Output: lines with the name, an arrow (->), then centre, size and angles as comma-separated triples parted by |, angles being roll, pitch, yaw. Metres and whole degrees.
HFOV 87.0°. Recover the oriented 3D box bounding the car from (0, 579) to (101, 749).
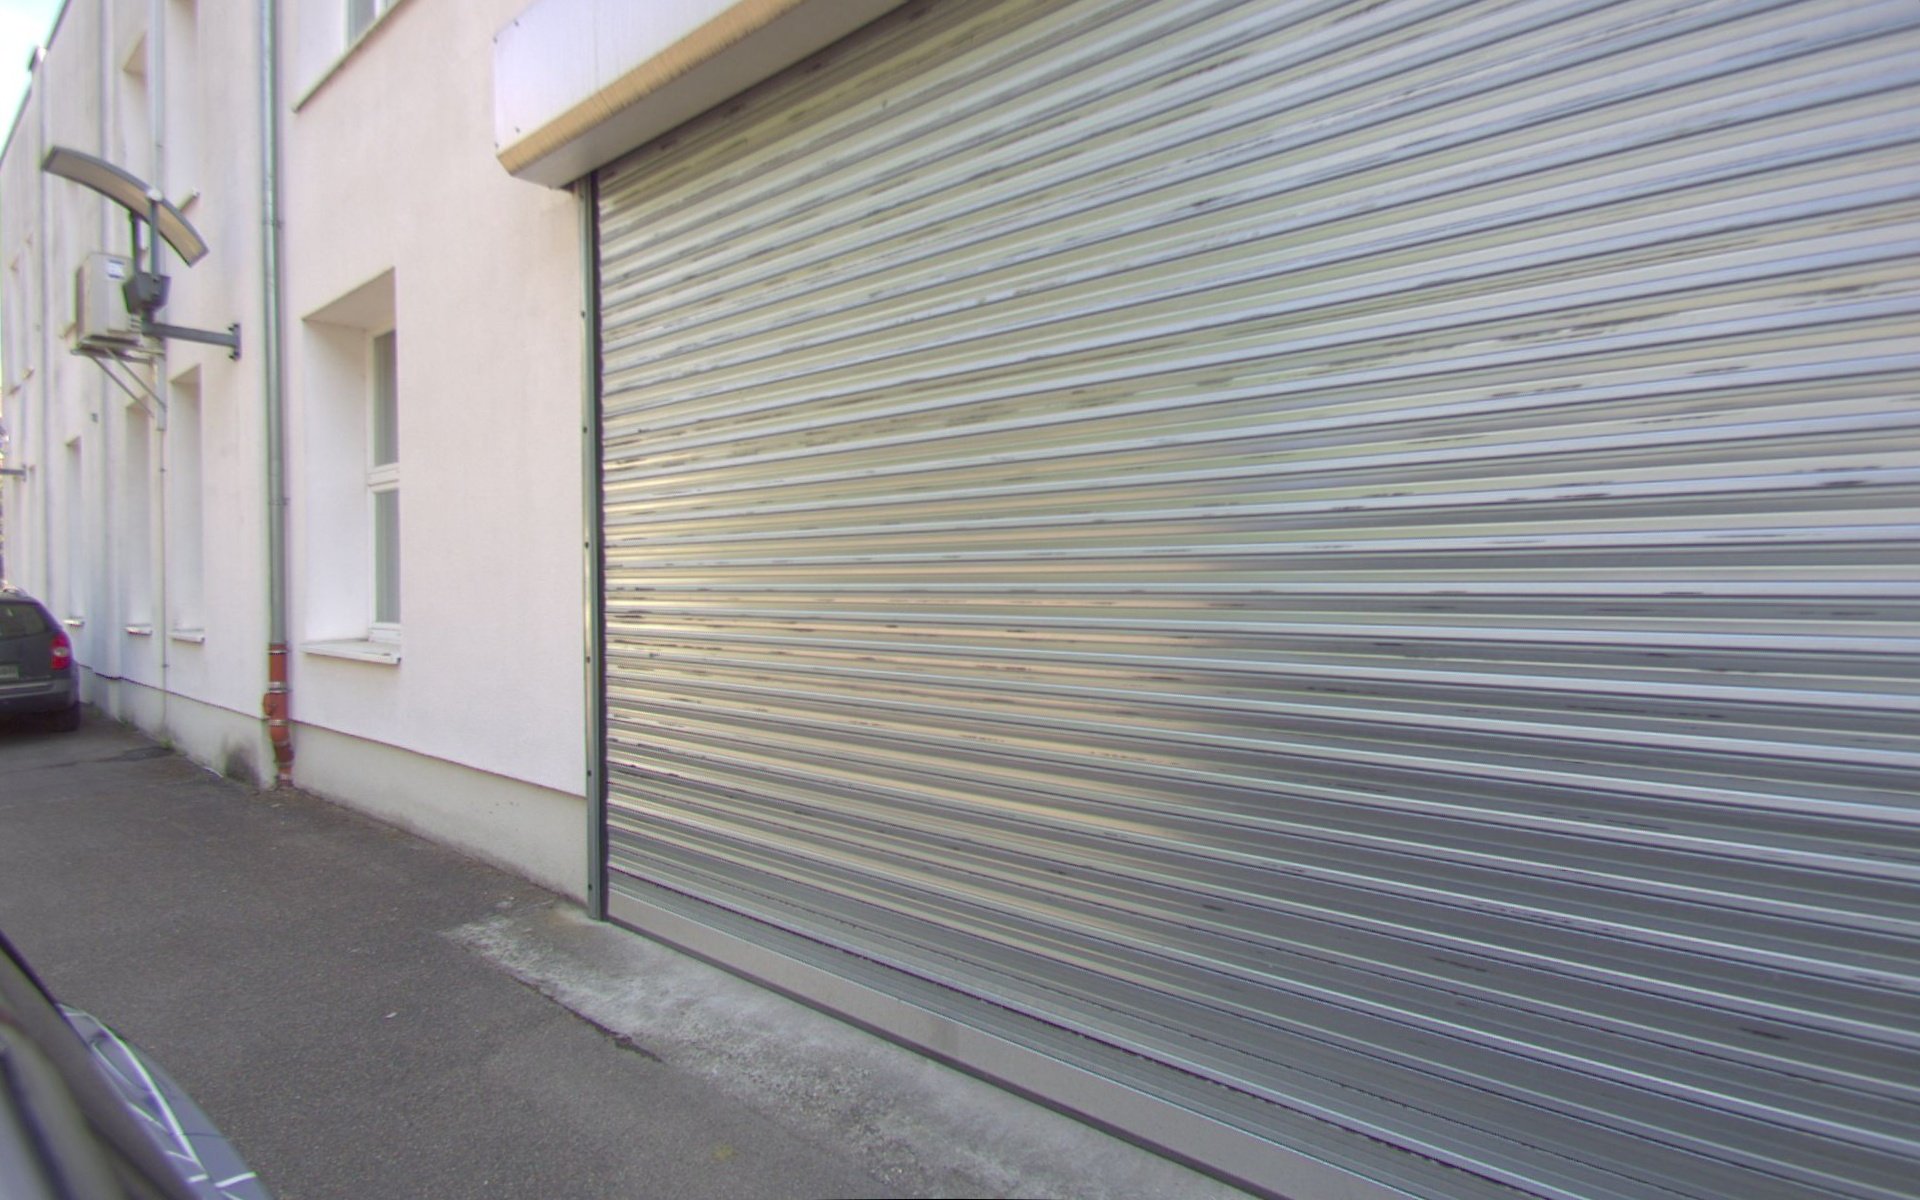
car -> -10.560, 0.576, 10.496 | 4.428, 1.452, 1.818 | 2, 4, 41
